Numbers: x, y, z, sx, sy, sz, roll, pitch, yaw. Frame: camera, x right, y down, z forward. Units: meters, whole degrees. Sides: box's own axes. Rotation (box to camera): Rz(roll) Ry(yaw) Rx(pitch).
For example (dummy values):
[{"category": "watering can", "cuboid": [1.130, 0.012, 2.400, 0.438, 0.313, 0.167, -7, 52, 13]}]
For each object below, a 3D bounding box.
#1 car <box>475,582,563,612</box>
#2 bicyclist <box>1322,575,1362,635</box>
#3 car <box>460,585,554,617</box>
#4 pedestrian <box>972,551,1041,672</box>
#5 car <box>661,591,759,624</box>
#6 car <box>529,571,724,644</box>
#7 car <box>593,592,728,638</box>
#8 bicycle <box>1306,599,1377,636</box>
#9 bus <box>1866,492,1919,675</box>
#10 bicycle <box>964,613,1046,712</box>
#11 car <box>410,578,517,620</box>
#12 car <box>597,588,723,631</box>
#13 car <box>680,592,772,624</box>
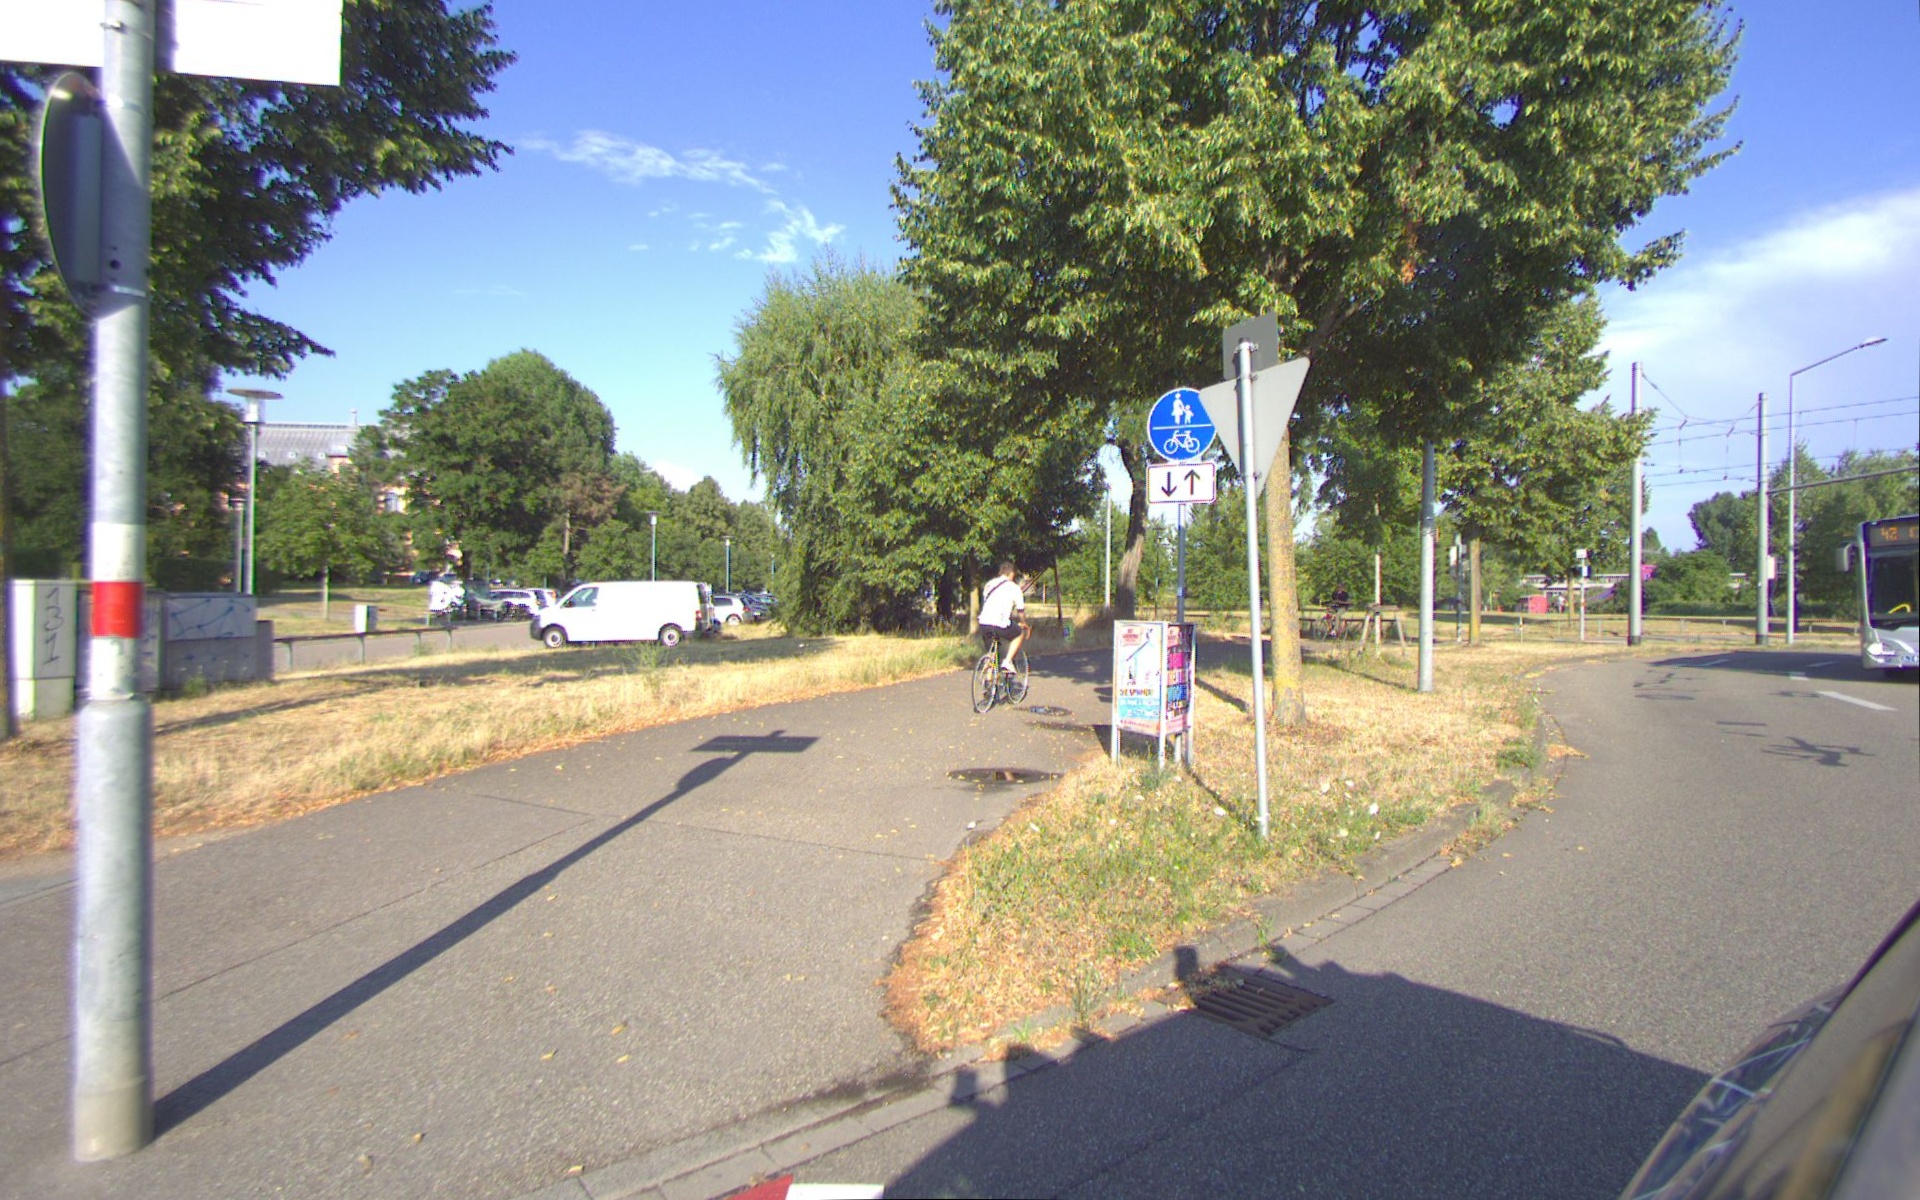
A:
[{"category": "car", "cuboid": [-23.573, -0.146, 54.212, 3.920, 1.549, 2.002, 0, 0, -5]}, {"category": "bicyclist", "cuboid": [11.942, 0.157, 31.619, 0.919, 1.824, 0.729, 0, 0, -14]}, {"category": "car", "cuboid": [-22.730, 0.068, 50.899, 3.920, 1.549, 2.002, 0, 0, -5]}, {"category": "pedestrian", "cuboid": [0.576, 0.120, 12.295, 0.644, 1.409, 0.763, 1, 1, 17]}, {"category": "car", "cuboid": [-10.985, 0.317, 44.705, 3.921, 1.416, 1.857, 0, 0, -3]}, {"category": "car", "cuboid": [-9.828, 0.193, 30.185, 5.116, 2.039, 2.271, -1, 0, -3]}, {"category": "car", "cuboid": [-9.673, 0.464, 32.916, 3.921, 1.461, 1.872, 0, 0, -4]}, {"category": "bicycle", "cuboid": [11.893, 0.547, 31.556, 2.080, 1.137, 0.642, 0, 0, -14]}, {"category": "bus", "cuboid": [21.126, -0.281, 20.587, 11.967, 3.100, 2.662, 0, 0, -42]}, {"category": "bicycle", "cuboid": [0.585, 0.721, 12.399, 0.527, 1.068, 1.902, 0, 0, 18]}, {"category": "car", "cuboid": [-22.308, -0.062, 45.611, 3.920, 1.816, 1.895, 0, 0, -5]}, {"category": "car", "cuboid": [-10.436, 0.318, 35.406, 3.921, 1.461, 1.872, 0, 0, -4]}, {"category": "car", "cuboid": [-10.765, 0.354, 46.763, 3.921, 1.416, 1.857, 0, 0, -3]}]
